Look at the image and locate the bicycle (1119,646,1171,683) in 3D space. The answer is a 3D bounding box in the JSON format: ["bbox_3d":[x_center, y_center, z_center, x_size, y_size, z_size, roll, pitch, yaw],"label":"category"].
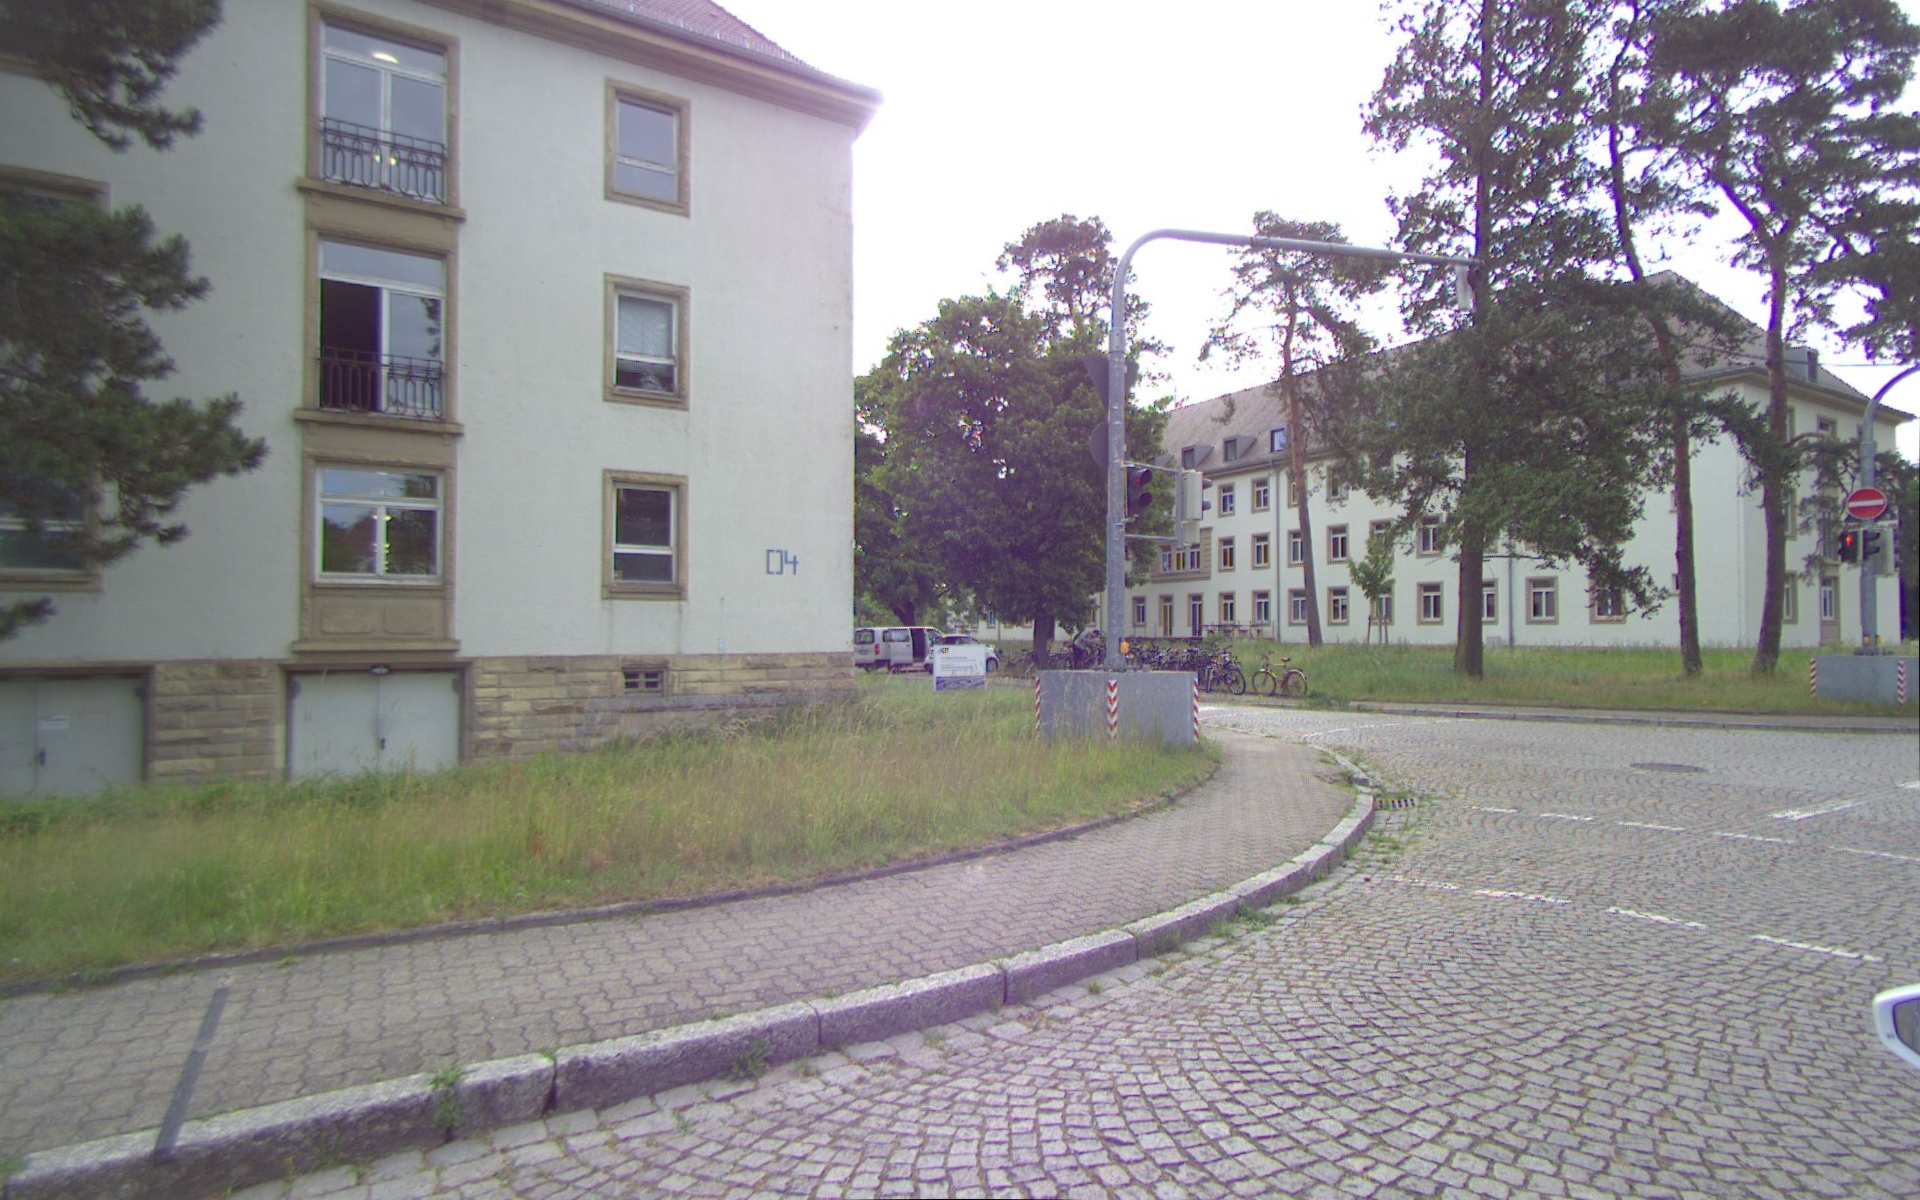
[{"bbox_3d":[5.535,1.921,30.036,1.567,1.093,0.512,1,-2,-31],"label":"bicycle"}]

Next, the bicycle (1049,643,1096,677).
[{"bbox_3d":[3.720,1.980,33.211,1.567,1.093,0.512,1,-2,-31],"label":"bicycle"}]

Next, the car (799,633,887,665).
[{"bbox_3d":[-5.834,2.433,50.383,4.051,1.547,1.789,2,-1,-34],"label":"car"}]

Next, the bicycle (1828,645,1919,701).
[{"bbox_3d":[18.586,1.461,20.302,0.510,1.079,1.457,0,-2,-32],"label":"bicycle"}]

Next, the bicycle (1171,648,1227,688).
[{"bbox_3d":[6.663,1.885,28.015,1.565,1.093,0.512,1,-2,-28],"label":"bicycle"}]

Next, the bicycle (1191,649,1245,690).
[{"bbox_3d":[7.075,1.887,27.474,1.569,1.093,0.511,1,-3,-34],"label":"bicycle"}]

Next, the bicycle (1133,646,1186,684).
[{"bbox_3d":[5.862,1.899,29.509,1.567,1.093,0.512,1,-2,-31],"label":"bicycle"}]

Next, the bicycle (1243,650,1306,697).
[{"bbox_3d":[7.566,1.751,24.208,0.510,1.079,1.457,1,-3,-32],"label":"bicycle"}]

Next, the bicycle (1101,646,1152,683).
[{"bbox_3d":[5.106,1.954,30.753,1.567,1.093,0.512,1,-2,-31],"label":"bicycle"}]

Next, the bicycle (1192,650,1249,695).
[{"bbox_3d":[6.611,1.823,25.537,0.510,1.093,1.457,1,-3,-32],"label":"bicycle"}]

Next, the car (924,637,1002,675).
[{"bbox_3d":[0.139,2.204,40.216,2.756,1.446,1.509,1,-1,-31],"label":"car"}]

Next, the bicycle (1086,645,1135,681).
[{"bbox_3d":[4.710,1.972,31.442,1.567,1.093,0.512,1,-2,-31],"label":"bicycle"}]

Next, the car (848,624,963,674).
[{"bbox_3d":[-2.265,2.036,42.766,4.878,1.978,1.839,2,-2,-44],"label":"car"}]

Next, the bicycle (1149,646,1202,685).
[{"bbox_3d":[6.216,1.888,28.987,1.567,1.093,0.512,1,-2,-31],"label":"bicycle"}]

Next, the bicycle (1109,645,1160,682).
[{"bbox_3d":[5.304,1.924,30.424,1.567,1.093,0.512,1,-2,-31],"label":"bicycle"}]

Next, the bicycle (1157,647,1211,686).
[{"bbox_3d":[6.391,1.888,28.672,1.567,1.093,0.512,1,-2,-31],"label":"bicycle"}]

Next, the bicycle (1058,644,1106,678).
[{"bbox_3d":[3.978,1.980,32.783,1.567,1.093,0.512,1,-2,-31],"label":"bicycle"}]

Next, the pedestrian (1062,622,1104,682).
[{"bbox_3d":[3.860,1.618,31.632,1.135,1.812,1.064,-1,-1,-2],"label":"pedestrian"}]
